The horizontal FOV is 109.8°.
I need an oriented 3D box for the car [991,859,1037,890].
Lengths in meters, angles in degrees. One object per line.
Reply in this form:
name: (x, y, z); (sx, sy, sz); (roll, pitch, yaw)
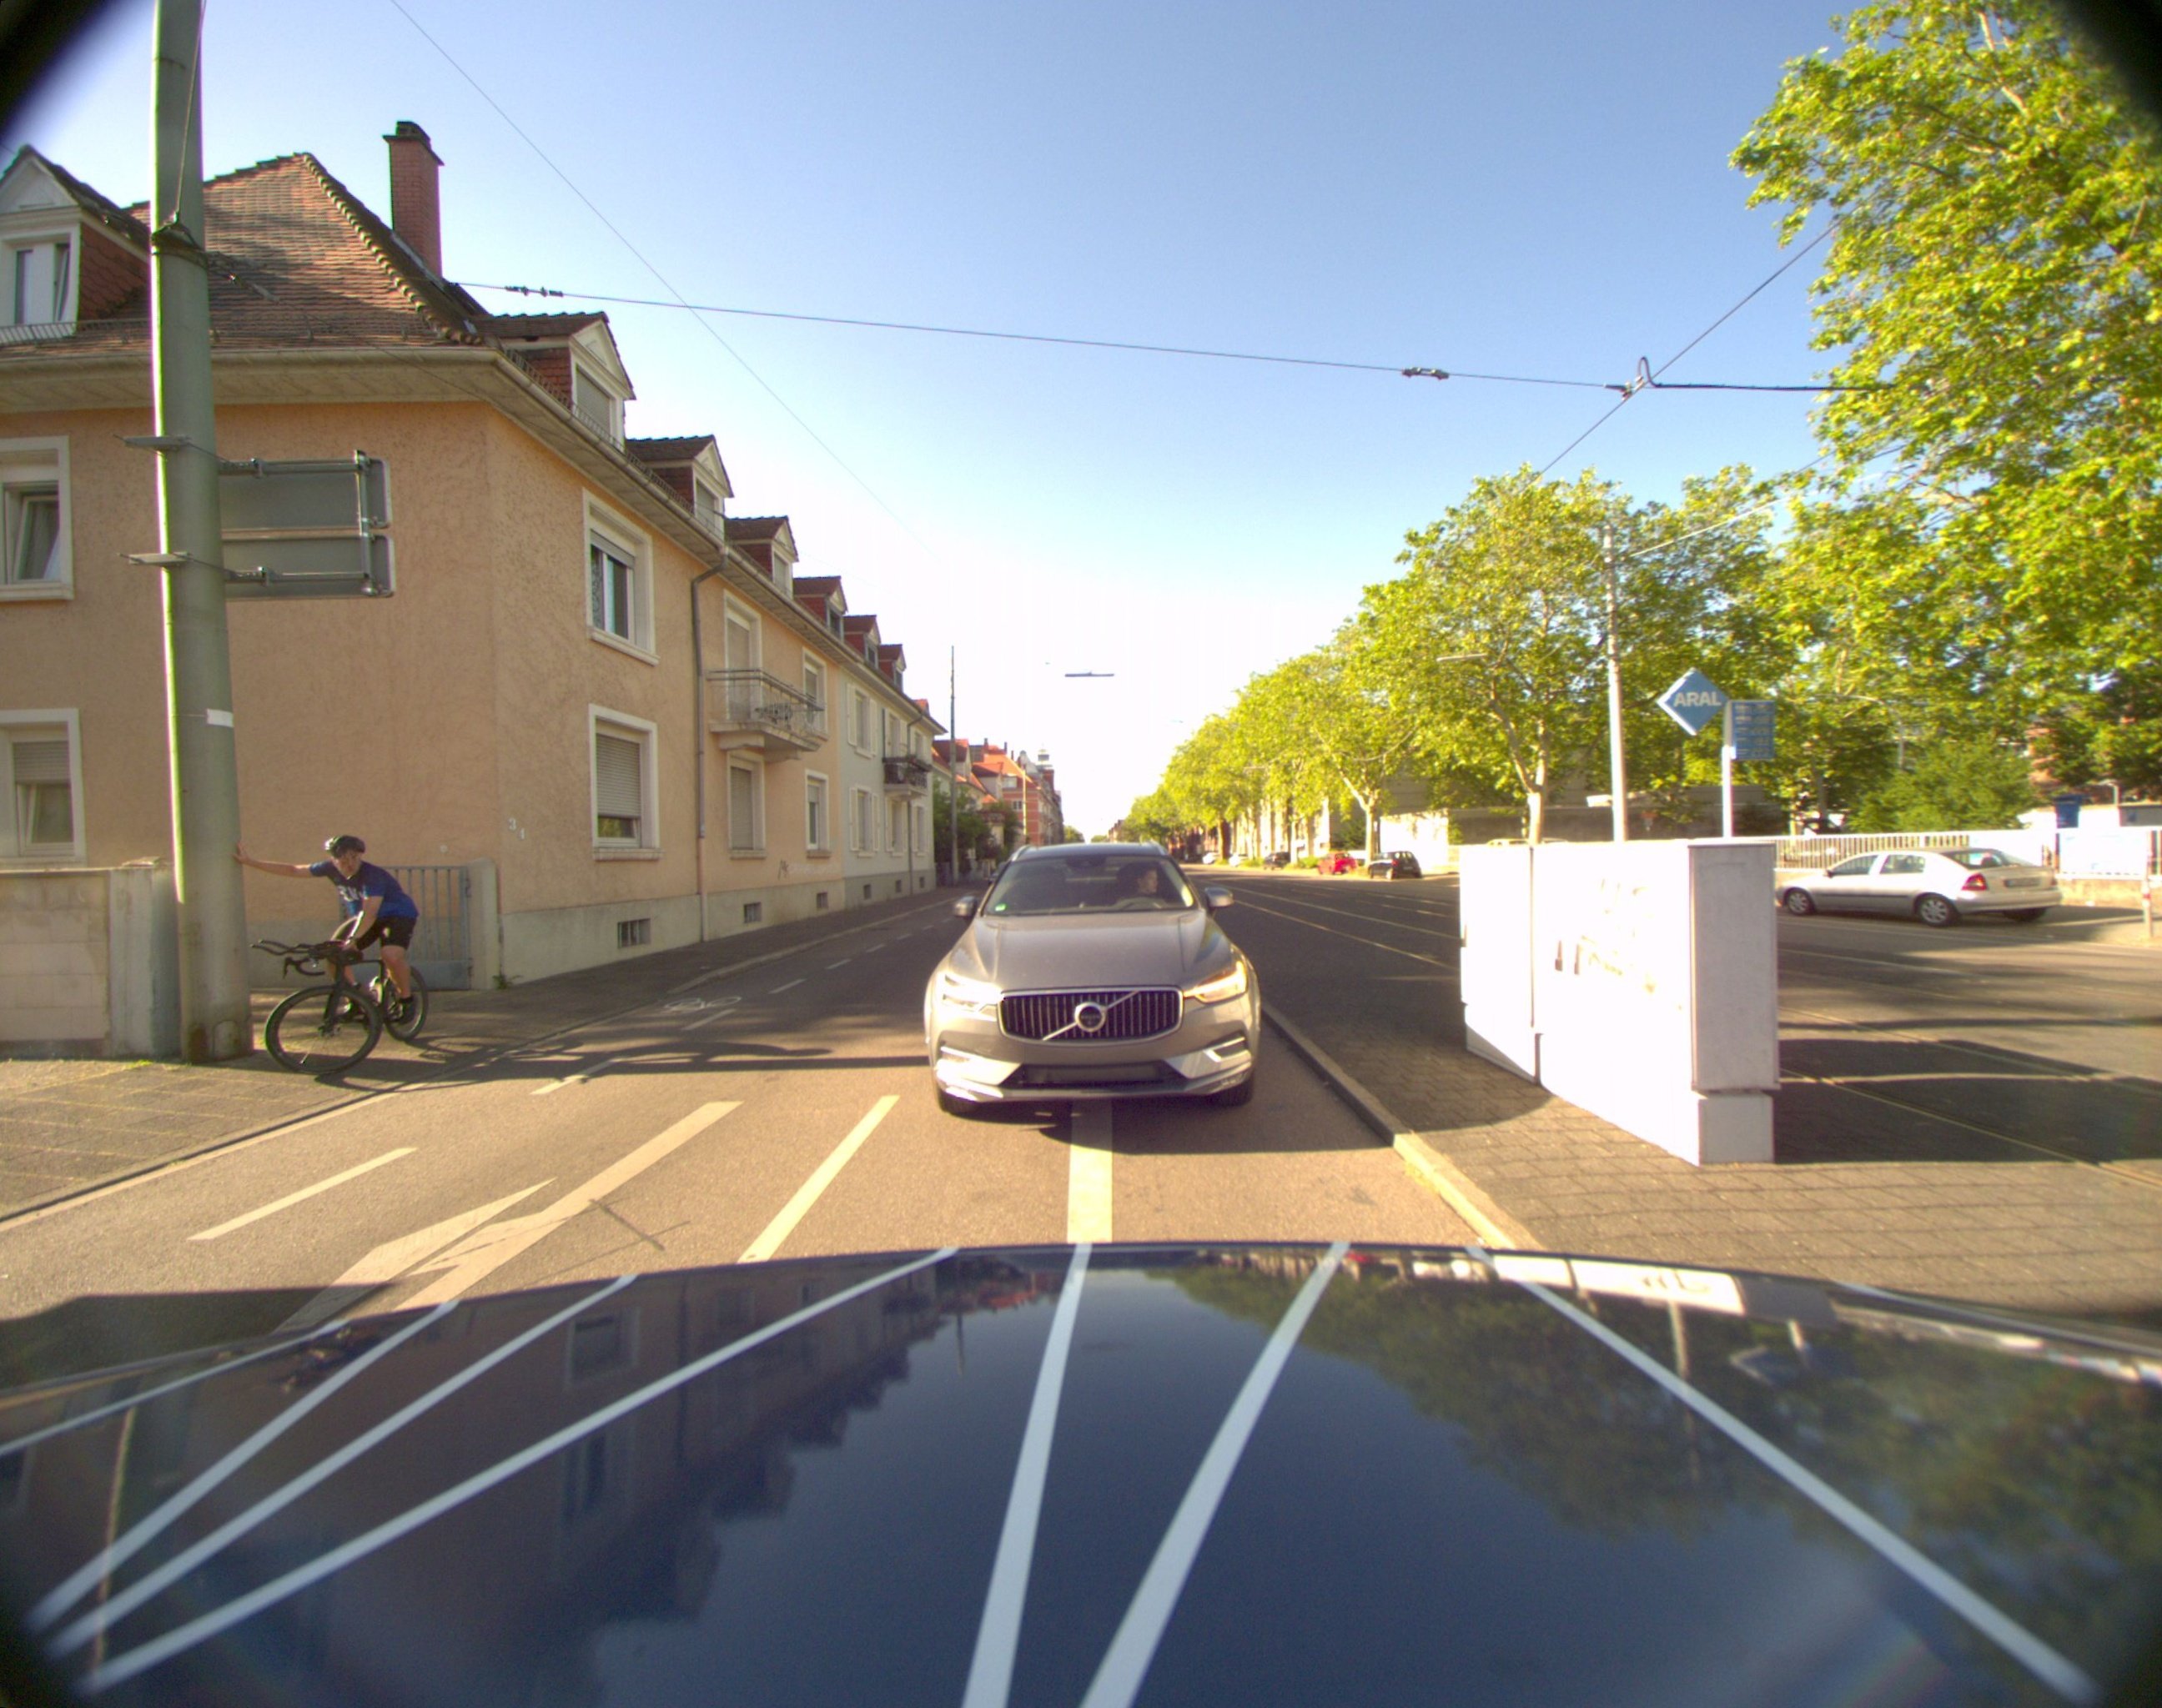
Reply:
car: (-3.202, 0.968, 37.030); (1.647, 1.357, 3.868); (-1, 0, 4)

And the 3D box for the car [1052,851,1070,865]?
car: (-2.194, 0.457, 85.495); (1.875, 1.477, 4.000); (-1, 0, 1)

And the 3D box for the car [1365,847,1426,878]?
car: (16.891, 0.424, 40.984); (1.826, 1.521, 3.653); (-2, 0, 1)

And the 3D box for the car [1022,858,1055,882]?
car: (-2.674, 0.996, 48.308); (1.785, 1.346, 4.000); (-1, 0, 1)

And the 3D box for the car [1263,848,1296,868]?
car: (17.204, 0.290, 66.045); (1.802, 1.652, 4.000); (-1, 0, 1)

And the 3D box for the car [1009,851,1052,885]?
car: (-2.780, 0.720, 42.889); (1.751, 1.767, 5.351); (-1, 0, 3)

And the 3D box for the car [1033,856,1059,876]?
car: (-2.742, 0.950, 60.680); (1.785, 1.468, 4.000); (-1, 0, 1)

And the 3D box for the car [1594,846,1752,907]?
car: (16.439, 0.576, 21.343); (1.692, 1.455, 3.519); (-4, 0, 2)

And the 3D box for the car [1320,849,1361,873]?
car: (16.952, 0.438, 49.753); (1.641, 1.499, 3.046); (-1, 0, 1)

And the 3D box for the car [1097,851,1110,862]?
car: (3.566, 0.391, 122.193); (1.998, 1.543, 4.000); (-1, 0, 1)

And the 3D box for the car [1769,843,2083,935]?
car: (16.253, 0.597, 14.995); (1.795, 1.455, 3.966); (-4, 0, 2)

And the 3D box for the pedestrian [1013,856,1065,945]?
pedestrian: (-0.843, 0.876, 14.948); (0.696, 1.652, 1.097); (-3, 1, -19)

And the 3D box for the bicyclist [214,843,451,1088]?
bicyclist: (-6.140, 0.863, 6.295); (1.076, 1.854, 0.846); (2, 1, 1)

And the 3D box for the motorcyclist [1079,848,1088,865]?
motorcyclist: (0.263, 0.234, 82.896); (0.827, 1.832, 1.159); (-2, 1, 1)

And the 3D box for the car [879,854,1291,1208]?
car: (0.049, 0.852, 5.805); (1.940, 1.650, 4.321); (-1, 0, 1)

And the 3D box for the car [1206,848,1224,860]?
car: (17.743, -0.004, 100.675); (1.802, 1.504, 4.000); (-1, 0, 1)

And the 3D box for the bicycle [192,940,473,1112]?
bicycle: (-5.935, 1.304, 6.180); (0.572, 0.986, 1.698); (2, 0, 1)

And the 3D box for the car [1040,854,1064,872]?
car: (-2.552, 0.773, 66.833); (1.875, 1.477, 4.000); (-1, 0, 1)

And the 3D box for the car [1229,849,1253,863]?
car: (17.556, 0.227, 83.430); (1.802, 1.489, 4.000); (-1, 0, 1)

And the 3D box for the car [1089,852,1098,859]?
car: (2.847, 0.415, 170.118); (1.998, 1.543, 4.000); (-1, 0, 1)

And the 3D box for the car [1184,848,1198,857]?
car: (18.207, -0.212, 125.632); (1.802, 1.504, 4.000); (-1, 0, 1)

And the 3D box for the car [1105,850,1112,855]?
car: (8.432, -0.478, 235.258); (1.998, 1.652, 4.000); (-1, 0, 1)

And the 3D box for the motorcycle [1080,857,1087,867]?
motorcycle: (0.283, 0.862, 82.823); (0.792, 1.095, 2.519); (0, 0, 1)
